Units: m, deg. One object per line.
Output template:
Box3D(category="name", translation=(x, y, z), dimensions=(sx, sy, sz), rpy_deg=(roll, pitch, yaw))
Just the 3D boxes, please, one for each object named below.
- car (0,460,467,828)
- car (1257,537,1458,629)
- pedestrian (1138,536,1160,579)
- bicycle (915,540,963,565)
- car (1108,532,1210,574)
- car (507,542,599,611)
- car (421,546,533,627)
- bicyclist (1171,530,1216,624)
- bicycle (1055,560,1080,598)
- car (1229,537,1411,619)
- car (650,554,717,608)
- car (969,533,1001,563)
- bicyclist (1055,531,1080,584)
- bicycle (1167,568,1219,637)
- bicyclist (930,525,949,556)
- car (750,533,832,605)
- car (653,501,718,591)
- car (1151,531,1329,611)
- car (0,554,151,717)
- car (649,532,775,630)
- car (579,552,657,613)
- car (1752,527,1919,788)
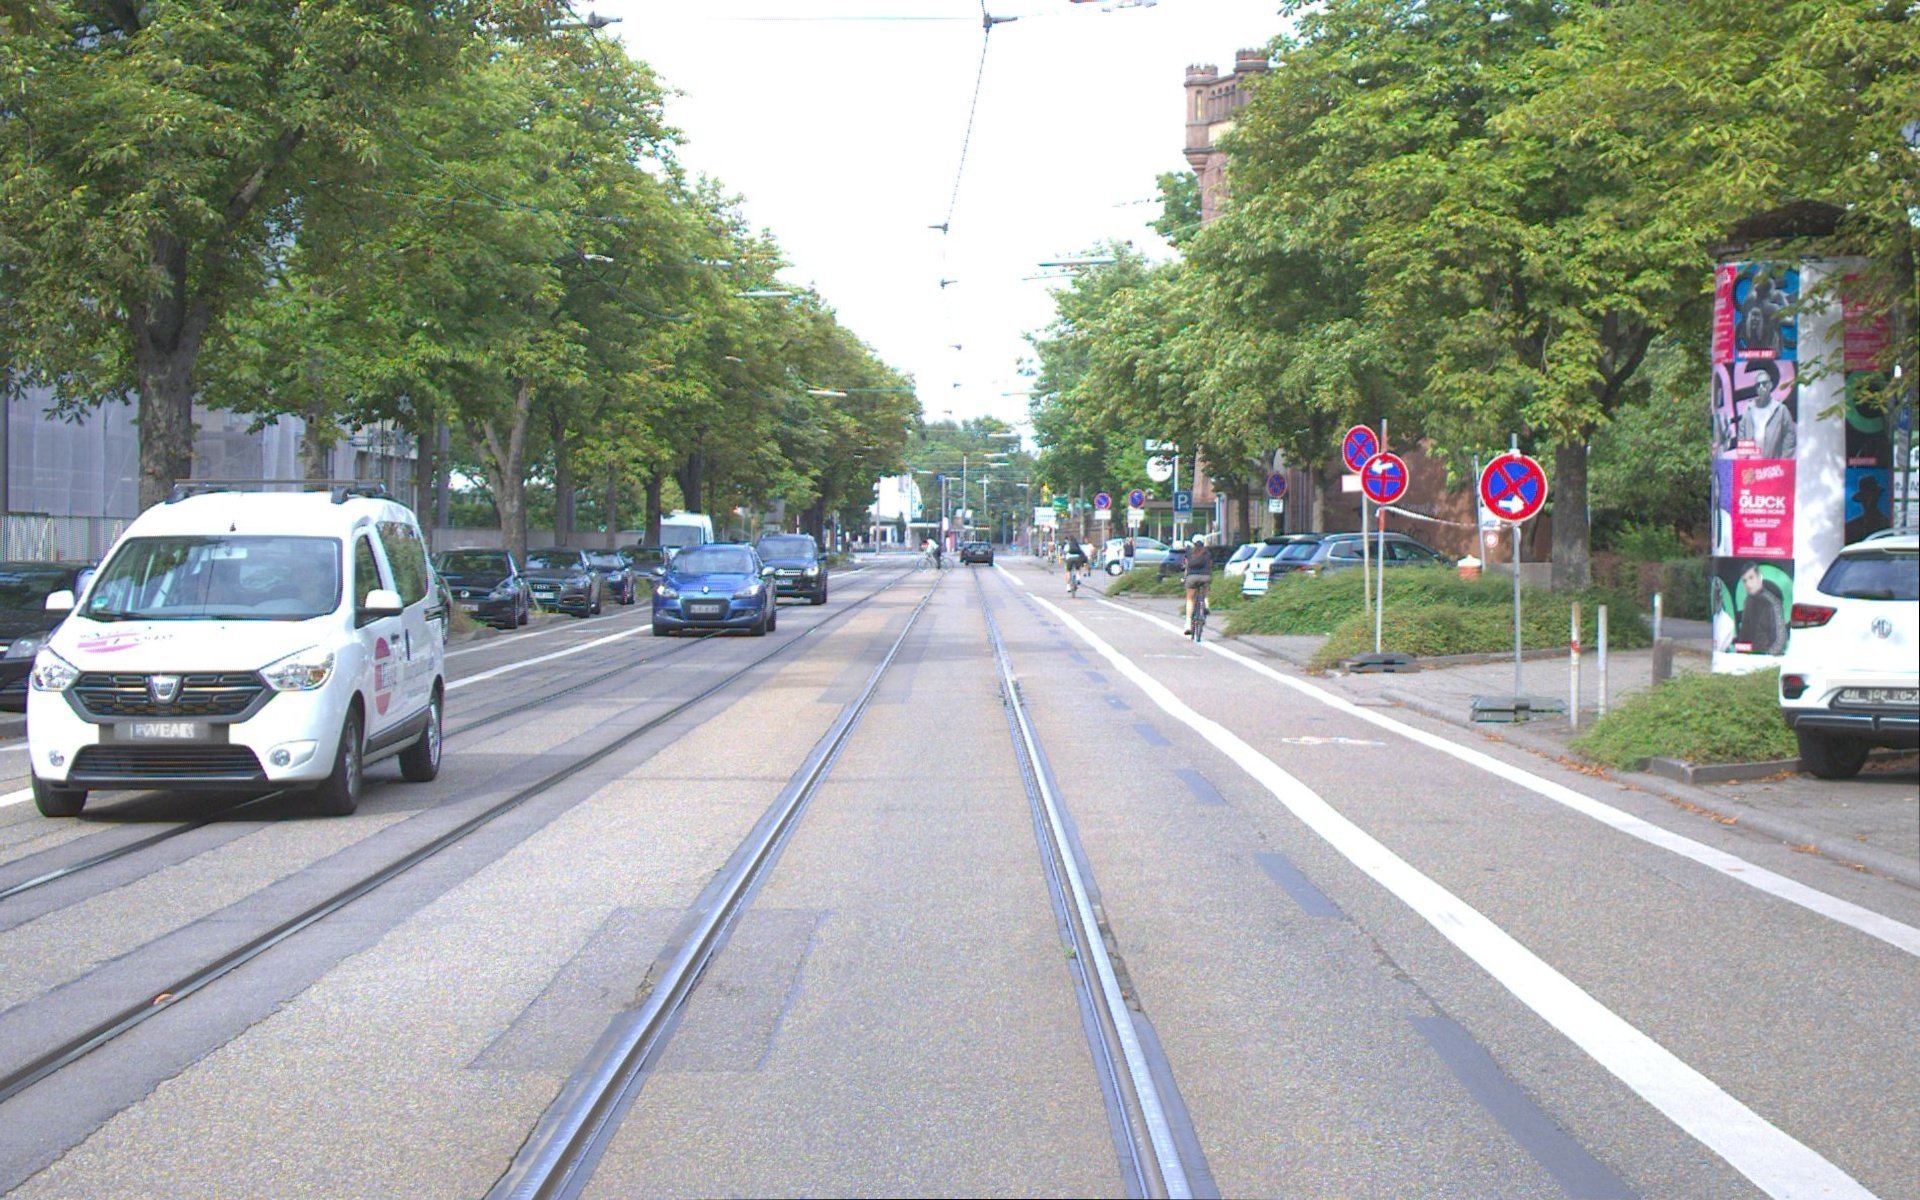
Box3D(category="car", translation=(-4.089, 0.183, 19.944), dimensions=(1.732, 1.878, 4.378), rpy_deg=(1, 1, 1))
Box3D(category="car", translation=(7.151, -0.317, 61.599), dimensions=(1.681, 1.597, 3.637), rpy_deg=(1, 1, 45))
Box3D(category="pedestrian", translation=(7.955, -1.773, 144.563), dimensions=(0.748, 1.783, 0.730), rpy_deg=(1, 0, 15))
Box3D(category="bicycle", translation=(-1.025, -2.324, 168.626), dimensions=(2.275, 1.185, 0.768), rpy_deg=(1, 1, 8))
Box3D(category="car", translation=(8.371, -1.980, 144.755), dimensions=(3.986, 1.687, 2.000), rpy_deg=(1, 1, -5))
Box3D(category="car", translation=(-8.577, -0.523, 72.729), dimensions=(1.590, 1.398, 3.963), rpy_deg=(1, 1, -2))
Box3D(category="car", translation=(-8.732, -0.274, 62.432), dimensions=(1.590, 1.398, 3.963), rpy_deg=(1, 1, -2))
Box3D(category="bicyclist", translation=(3.653, -0.364, 53.835), dimensions=(0.592, 1.454, 0.875), rpy_deg=(1, 1, -2))
Box3D(category="bicycle", translation=(3.042, -0.593, 97.608), dimensions=(0.663, 1.040, 1.841), rpy_deg=(1, 1, 1))
Box3D(category="car", translation=(7.173, -0.437, 68.397), dimensions=(1.681, 1.597, 3.637), rpy_deg=(1, 1, 45))
Box3D(category="car", translation=(-7.477, -0.521, 93.146), dimensions=(1.590, 1.398, 3.963), rpy_deg=(1, 1, -2))
Box3D(category="car", translation=(1.525, -3.183, 210.441), dimensions=(1.795, 1.817, 4.679), rpy_deg=(1, 1, -1))
Box3D(category="bicyclist", translation=(3.054, -1.218, 97.600), dimensions=(0.659, 1.491, 0.929), rpy_deg=(1, 1, 1))
Box3D(category="bicycle", translation=(3.644, 0.031, 53.840), dimensions=(0.592, 1.040, 1.978), rpy_deg=(1, 1, -2))
Box3D(category="bicyclist", translation=(-0.996, -2.899, 168.621), dimensions=(0.847, 1.499, 0.768), rpy_deg=(1, 1, 8))
Box3D(category="car", translation=(-3.939, -0.748, 80.676), dimensions=(1.732, 1.623, 4.378), rpy_deg=(-1, 1, -1))
Box3D(category="car", translation=(-8.478, -1.670, 106.488), dimensions=(1.720, 2.695, 5.471), rpy_deg=(1, 1, -2))
Box3D(category="car", translation=(5.763, -0.593, 70.543), dimensions=(1.681, 1.597, 3.637), rpy_deg=(1, 1, 45))
Box3D(category="car", translation=(-8.800, 0.288, 32.263), dimensions=(1.590, 1.398, 3.963), rpy_deg=(1, 1, -2))
Box3D(category="car", translation=(-3.969, -0.338, 55.605), dimensions=(1.732, 1.491, 4.378), rpy_deg=(0, 1, 0))
Box3D(category="car", translation=(-8.231, -0.430, 82.951), dimensions=(1.590, 1.398, 3.963), rpy_deg=(1, 1, -2))
Box3D(category="car", translation=(6.918, 0.343, 22.558), dimensions=(1.681, 1.597, 3.637), rpy_deg=(1, 1, 45))
